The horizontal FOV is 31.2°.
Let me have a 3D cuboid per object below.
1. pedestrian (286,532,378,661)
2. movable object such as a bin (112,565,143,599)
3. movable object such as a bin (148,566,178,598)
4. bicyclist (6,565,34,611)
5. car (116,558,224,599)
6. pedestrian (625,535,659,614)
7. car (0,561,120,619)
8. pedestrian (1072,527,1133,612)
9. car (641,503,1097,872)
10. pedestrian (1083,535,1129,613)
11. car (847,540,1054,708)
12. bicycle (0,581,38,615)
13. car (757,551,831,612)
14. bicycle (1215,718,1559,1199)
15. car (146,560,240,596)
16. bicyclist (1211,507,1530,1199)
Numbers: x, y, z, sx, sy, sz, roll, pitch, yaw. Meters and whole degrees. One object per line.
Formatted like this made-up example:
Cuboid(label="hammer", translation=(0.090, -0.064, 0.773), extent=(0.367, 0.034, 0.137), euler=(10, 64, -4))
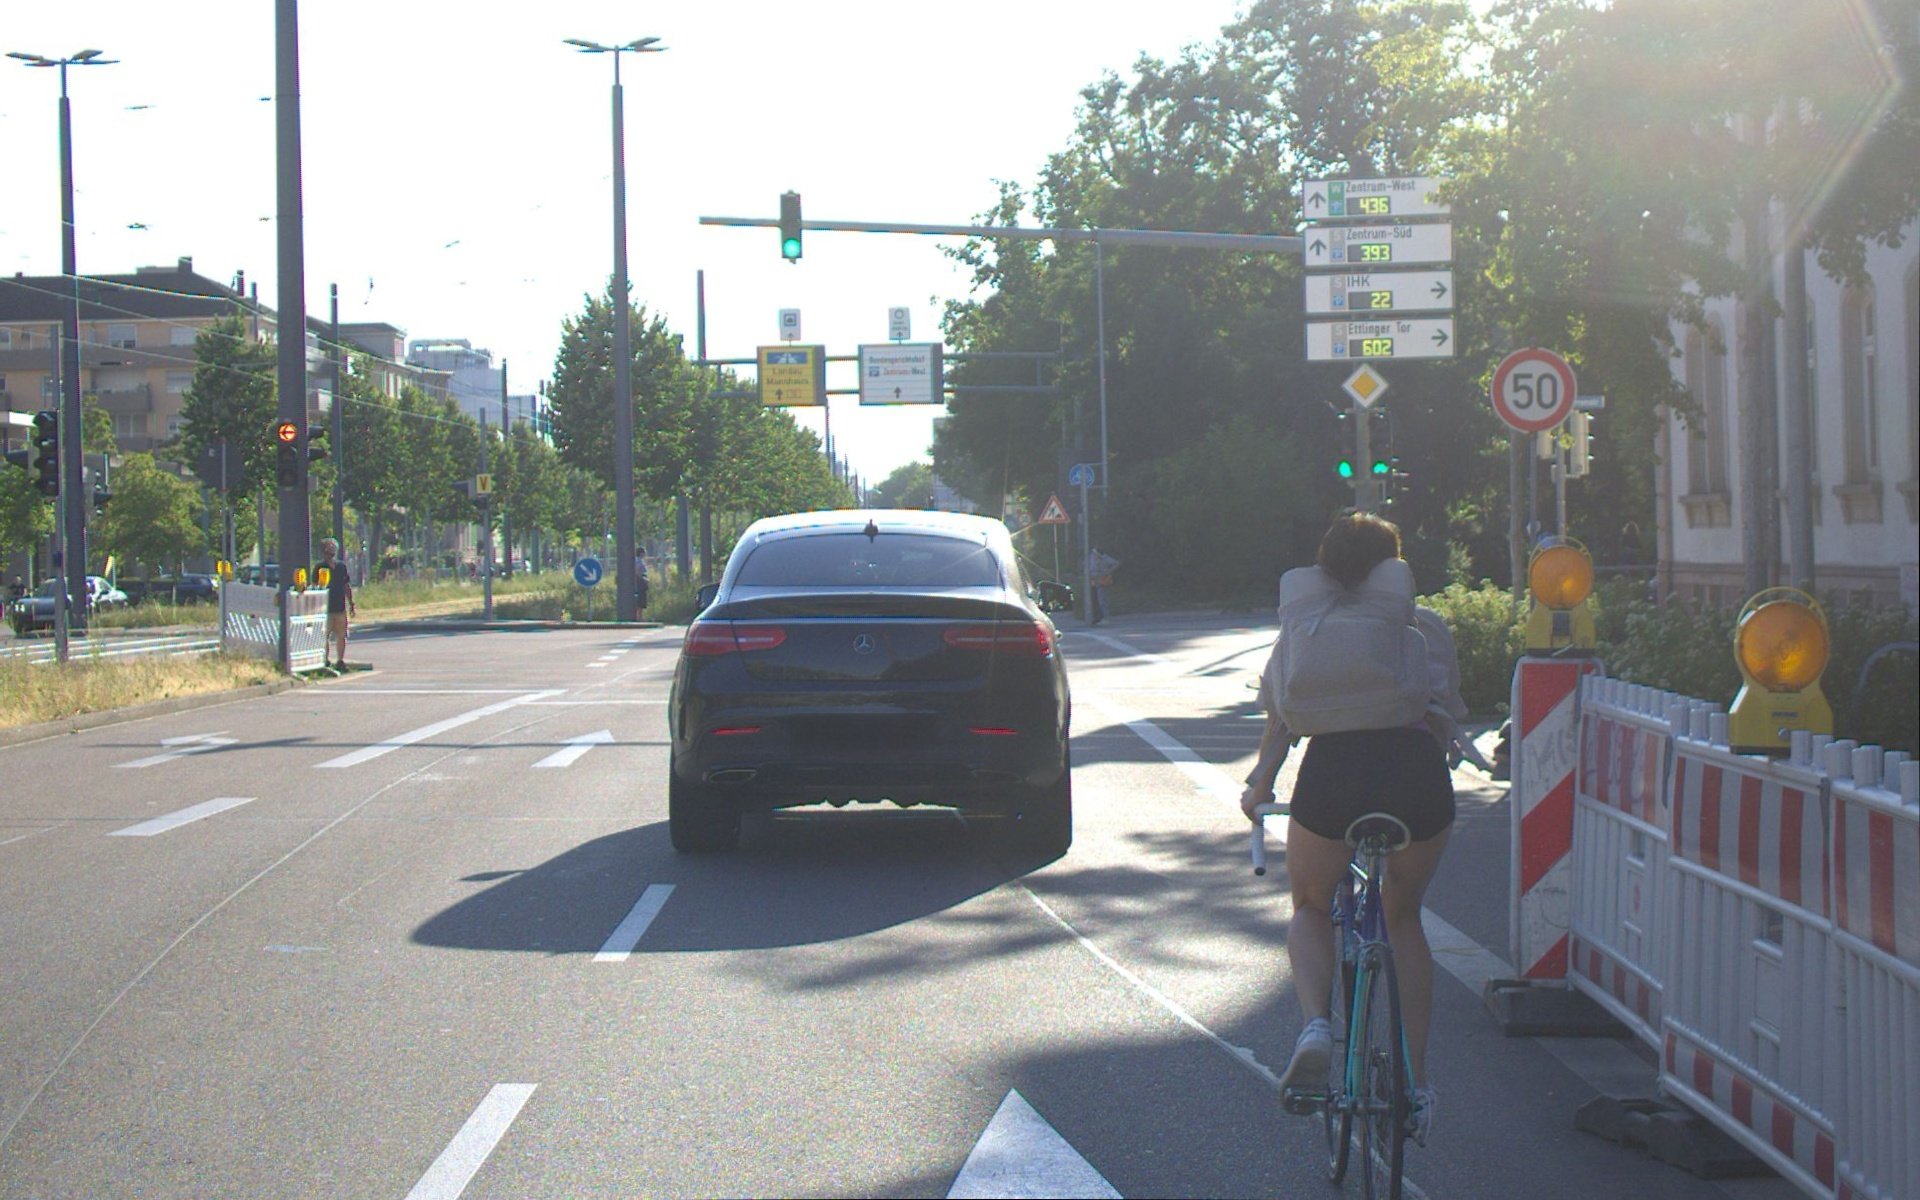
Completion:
Cuboid(label="pedestrian", translation=(-8.133, -0.052, 44.551), extent=(0.924, 1.643, 0.765), euler=(-1, 1, 12))
Cuboid(label="movable object such as a bin", translation=(-34.096, -0.740, 140.782), extent=(0.858, 1.353, 0.939), euler=(-1, 1, 14))
Cuboid(label="movable object such as a bin", translation=(-32.710, -0.740, 141.102), extent=(0.858, 1.276, 0.939), euler=(-1, 1, 14))
Cuboid(label="bicyclist", translation=(-30.582, -0.390, 111.834), extent=(0.625, 1.460, 0.851), euler=(-1, 1, 0))
Cuboid(label="car", translation=(-33.626, -0.911, 146.407), extent=(4.084, 1.595, 1.749), euler=(1, 1, -41))
Cuboid(label="pedestrian", translation=(-6.951, -0.557, 75.139), extent=(0.598, 1.693, 0.714), euler=(-1, 1, 5))
Cuboid(label="car", translation=(-22.444, -0.269, 85.688), extent=(1.891, 1.339, 4.851), euler=(-1, 1, -1))
Cuboid(label="pedestrian", translation=(3.103, -0.662, 74.757), extent=(0.857, 1.796, 0.907), euler=(-4, 1, -35))
Cuboid(label="car", translation=(-0.353, 0.356, 18.173), extent=(1.994, 1.728, 4.000), euler=(0, 2, 5))
Cuboid(label="pedestrian", translation=(3.143, -0.566, 73.912), extent=(0.766, 1.631, 0.770), euler=(-3, 1, -10))
Cuboid(label="car", translation=(-0.119, 0.184, 33.672), extent=(1.897, 1.522, 4.059), euler=(-1, 1, -1))
Cuboid(label="bicycle", translation=(-30.590, -0.064, 111.820), extent=(0.625, 1.063, 2.078), euler=(-1, 1, 0))
Cuboid(label="car", translation=(-4.489, -0.529, 93.431), extent=(1.885, 1.575, 4.001), euler=(0, 2, -1))
Cuboid(label="bicycle", translation=(0.891, 0.864, 7.532), extent=(0.520, 1.093, 1.843), euler=(-1, 1, 0))
Cuboid(label="car", translation=(-33.475, -0.948, 150.072), extent=(3.615, 1.518, 1.620), euler=(1, 0, -41))
Cuboid(label="bicyclist", translation=(0.882, 0.545, 7.581), extent=(0.552, 1.486, 1.081), euler=(-1, 1, 0))
